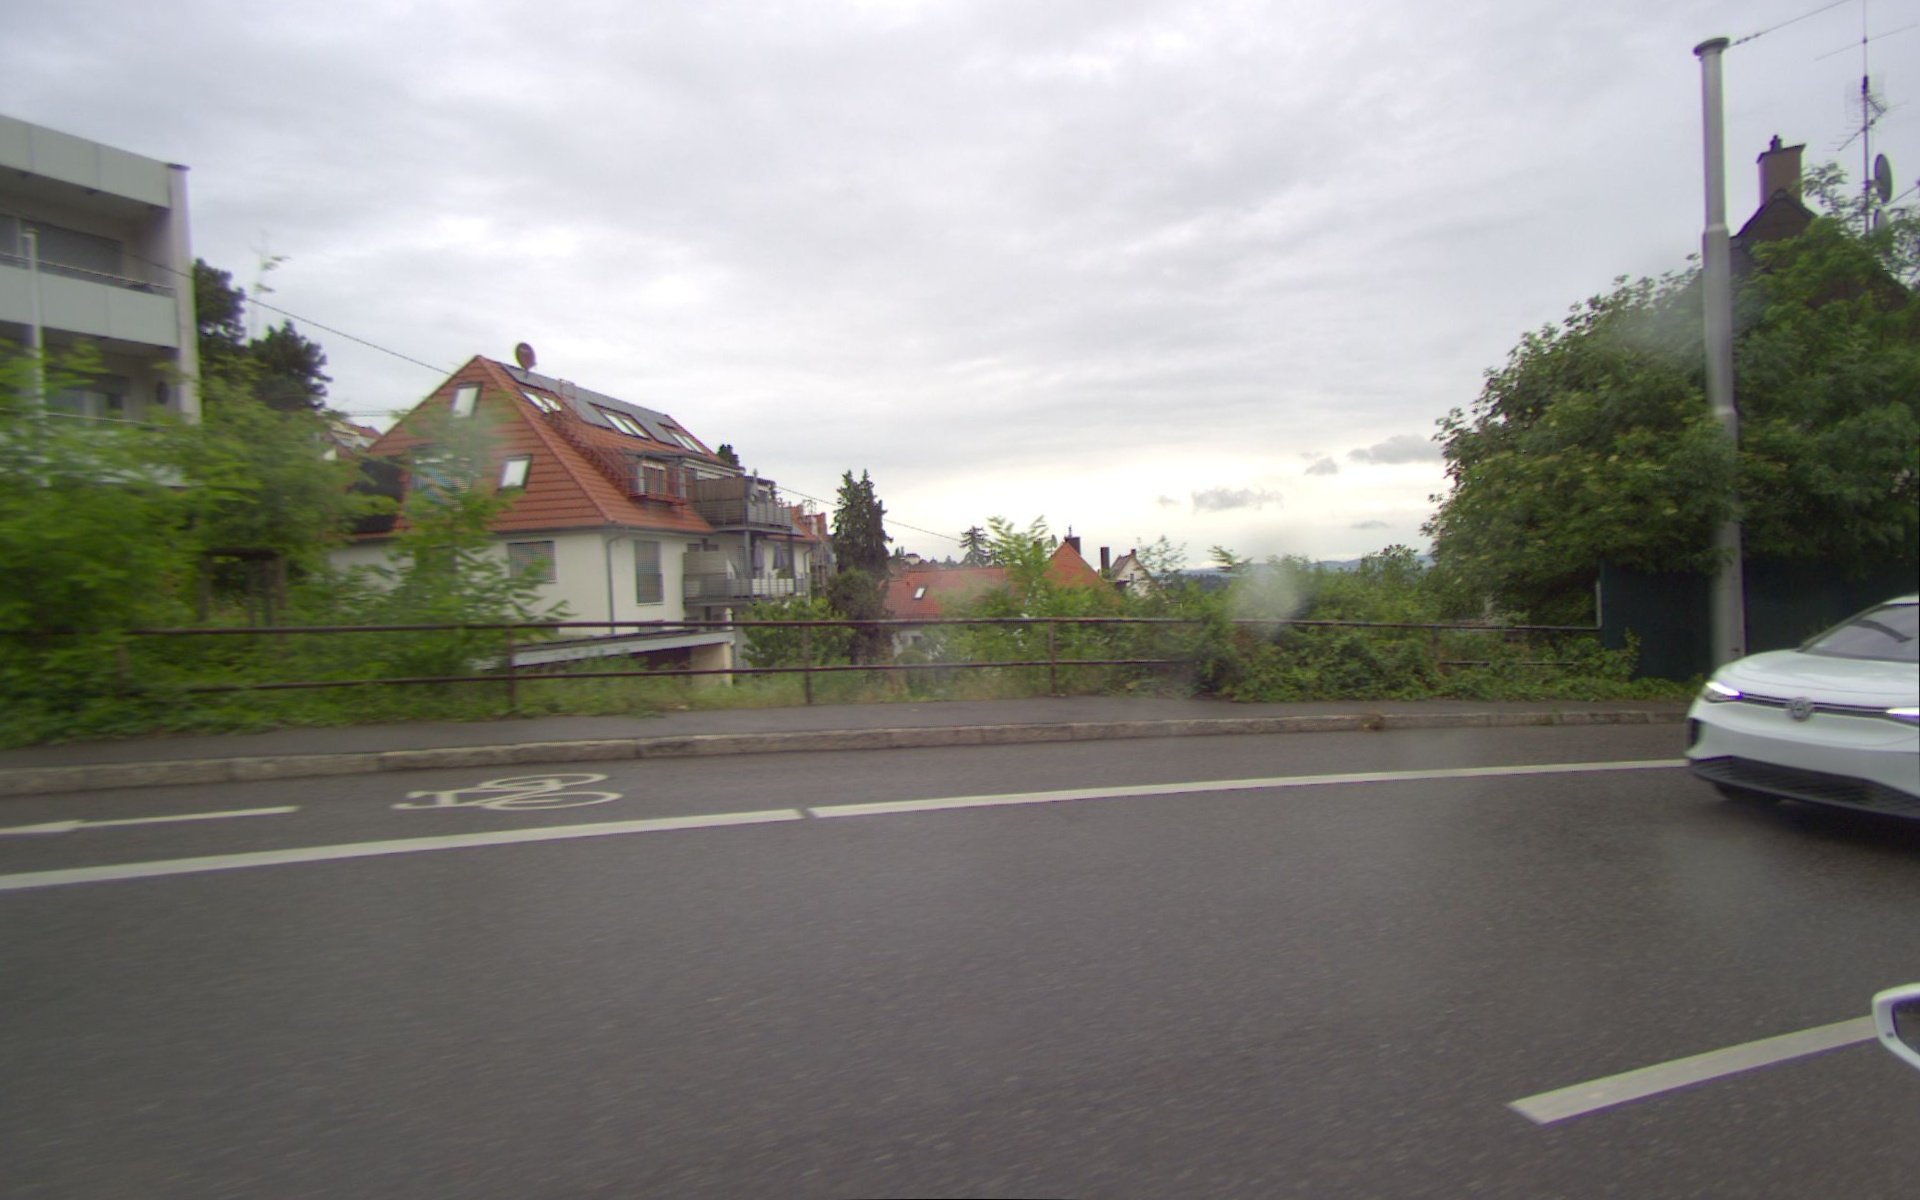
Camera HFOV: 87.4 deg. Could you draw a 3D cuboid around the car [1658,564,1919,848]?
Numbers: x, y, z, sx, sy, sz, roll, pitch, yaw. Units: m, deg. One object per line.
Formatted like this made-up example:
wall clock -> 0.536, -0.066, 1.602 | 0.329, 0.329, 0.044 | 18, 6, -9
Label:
car -> 7.358, 0.643, 7.019 | 4.215, 1.628, 1.826 | 0, -2, -16
